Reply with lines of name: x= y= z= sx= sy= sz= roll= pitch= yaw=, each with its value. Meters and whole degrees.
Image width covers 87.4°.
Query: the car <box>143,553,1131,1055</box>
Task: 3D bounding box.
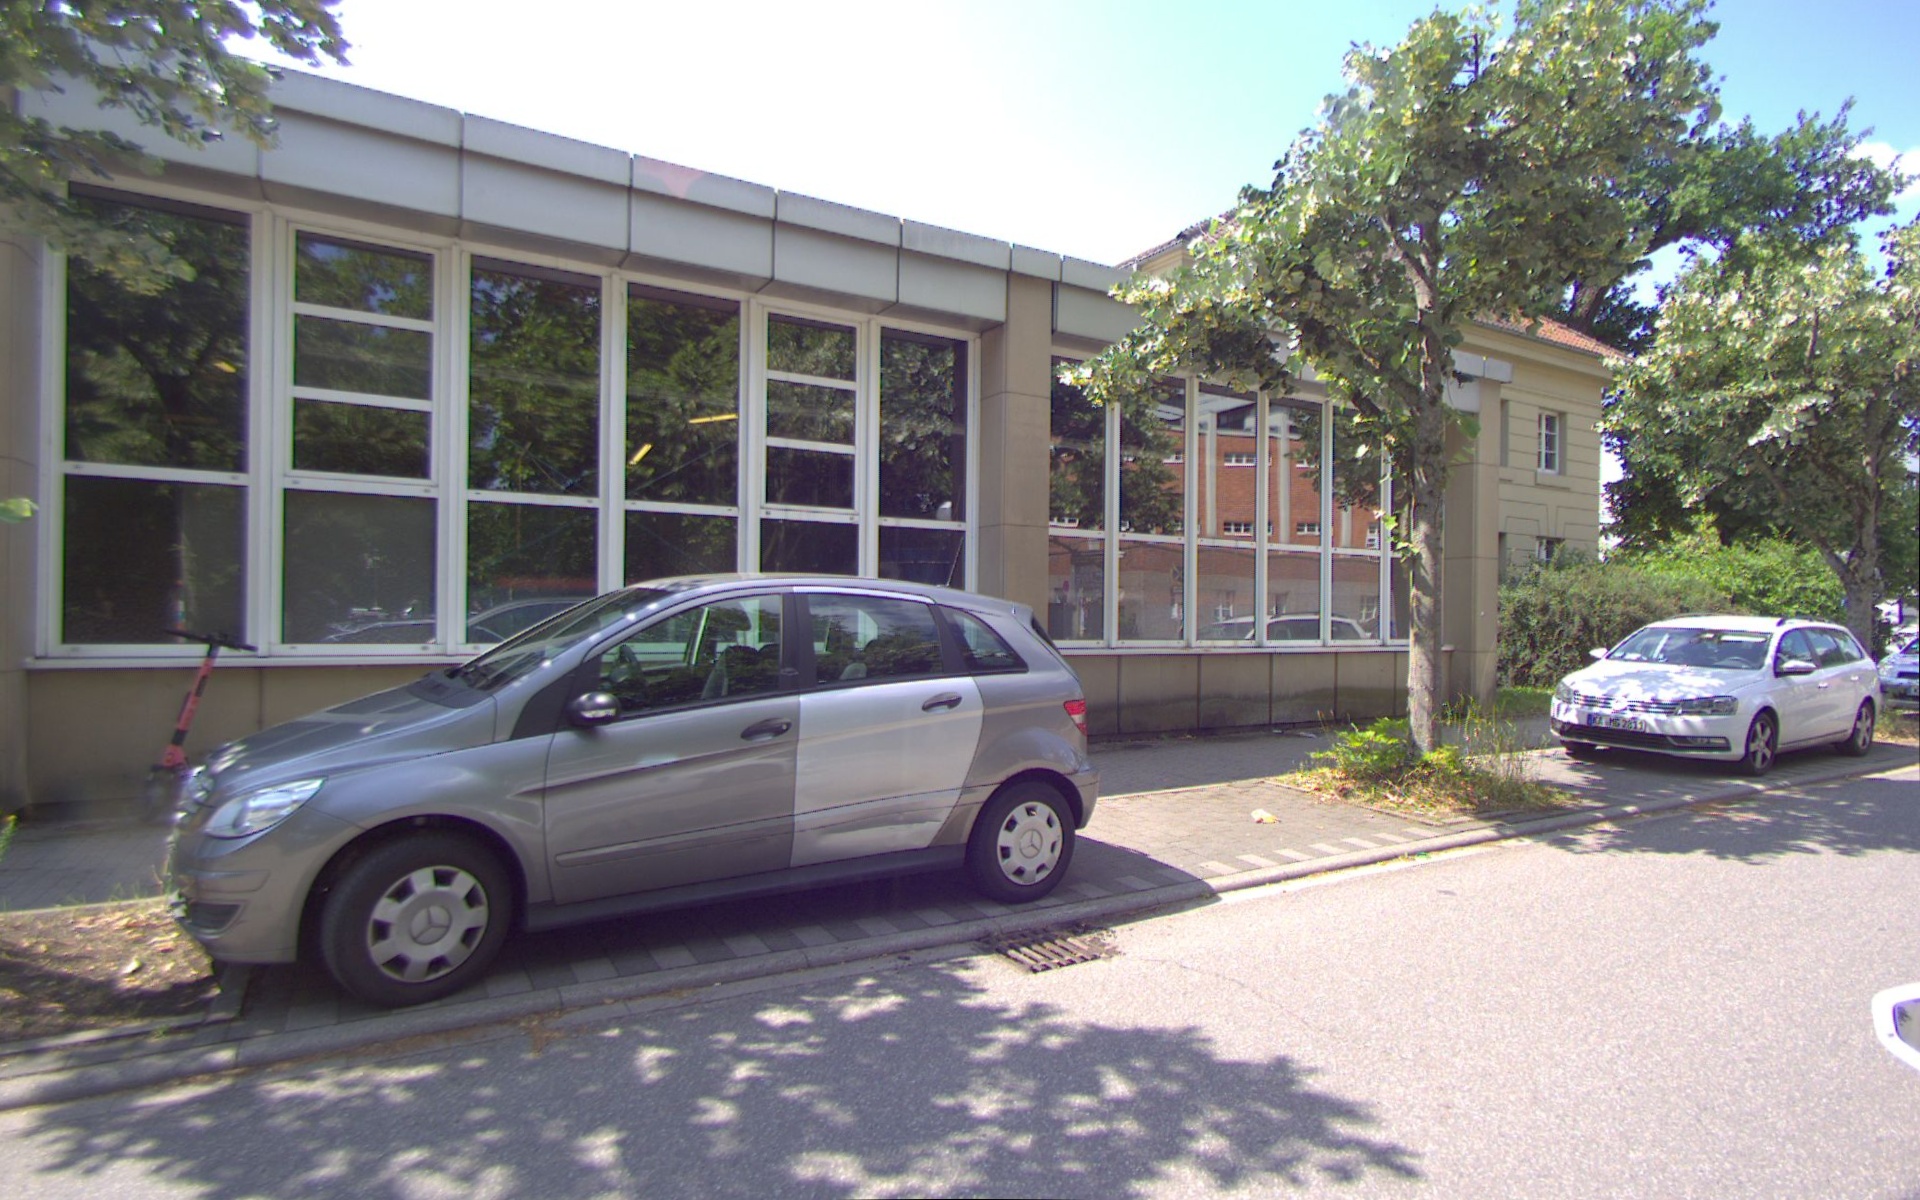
car: x=-1.287 y=0.654 z=4.984 sx=4.068 sy=1.577 sz=1.747 roll=1 pitch=1 yaw=-33

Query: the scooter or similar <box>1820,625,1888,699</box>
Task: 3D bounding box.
scooter or similar: x=16.453 y=1.124 z=18.481 sx=1.214 sy=1.304 sz=0.522 roll=0 pitch=-3 yaw=-30

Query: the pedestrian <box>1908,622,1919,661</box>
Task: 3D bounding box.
pedestrian: x=43.879 y=1.909 z=45.871 sx=0.629 sy=1.772 sz=0.690 roll=1 pitch=0 yaw=-30

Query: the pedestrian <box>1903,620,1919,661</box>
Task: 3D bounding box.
pedestrian: x=43.213 y=1.831 z=45.511 sx=0.579 sy=1.788 sz=0.549 roll=1 pitch=0 yaw=-30

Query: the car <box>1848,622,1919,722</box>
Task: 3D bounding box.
car: x=15.253 y=1.058 z=14.985 sx=4.114 sy=1.362 sz=1.717 roll=1 pitch=1 yaw=-29

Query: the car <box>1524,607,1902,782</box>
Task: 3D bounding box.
car: x=8.137 y=0.873 z=10.738 sx=4.533 sy=1.476 sz=1.715 roll=1 pitch=1 yaw=-33

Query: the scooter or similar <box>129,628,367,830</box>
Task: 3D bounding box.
scooter or similar: x=-4.563 y=0.786 z=6.524 sx=1.201 sy=1.185 sz=0.503 roll=1 pitch=1 yaw=-30
